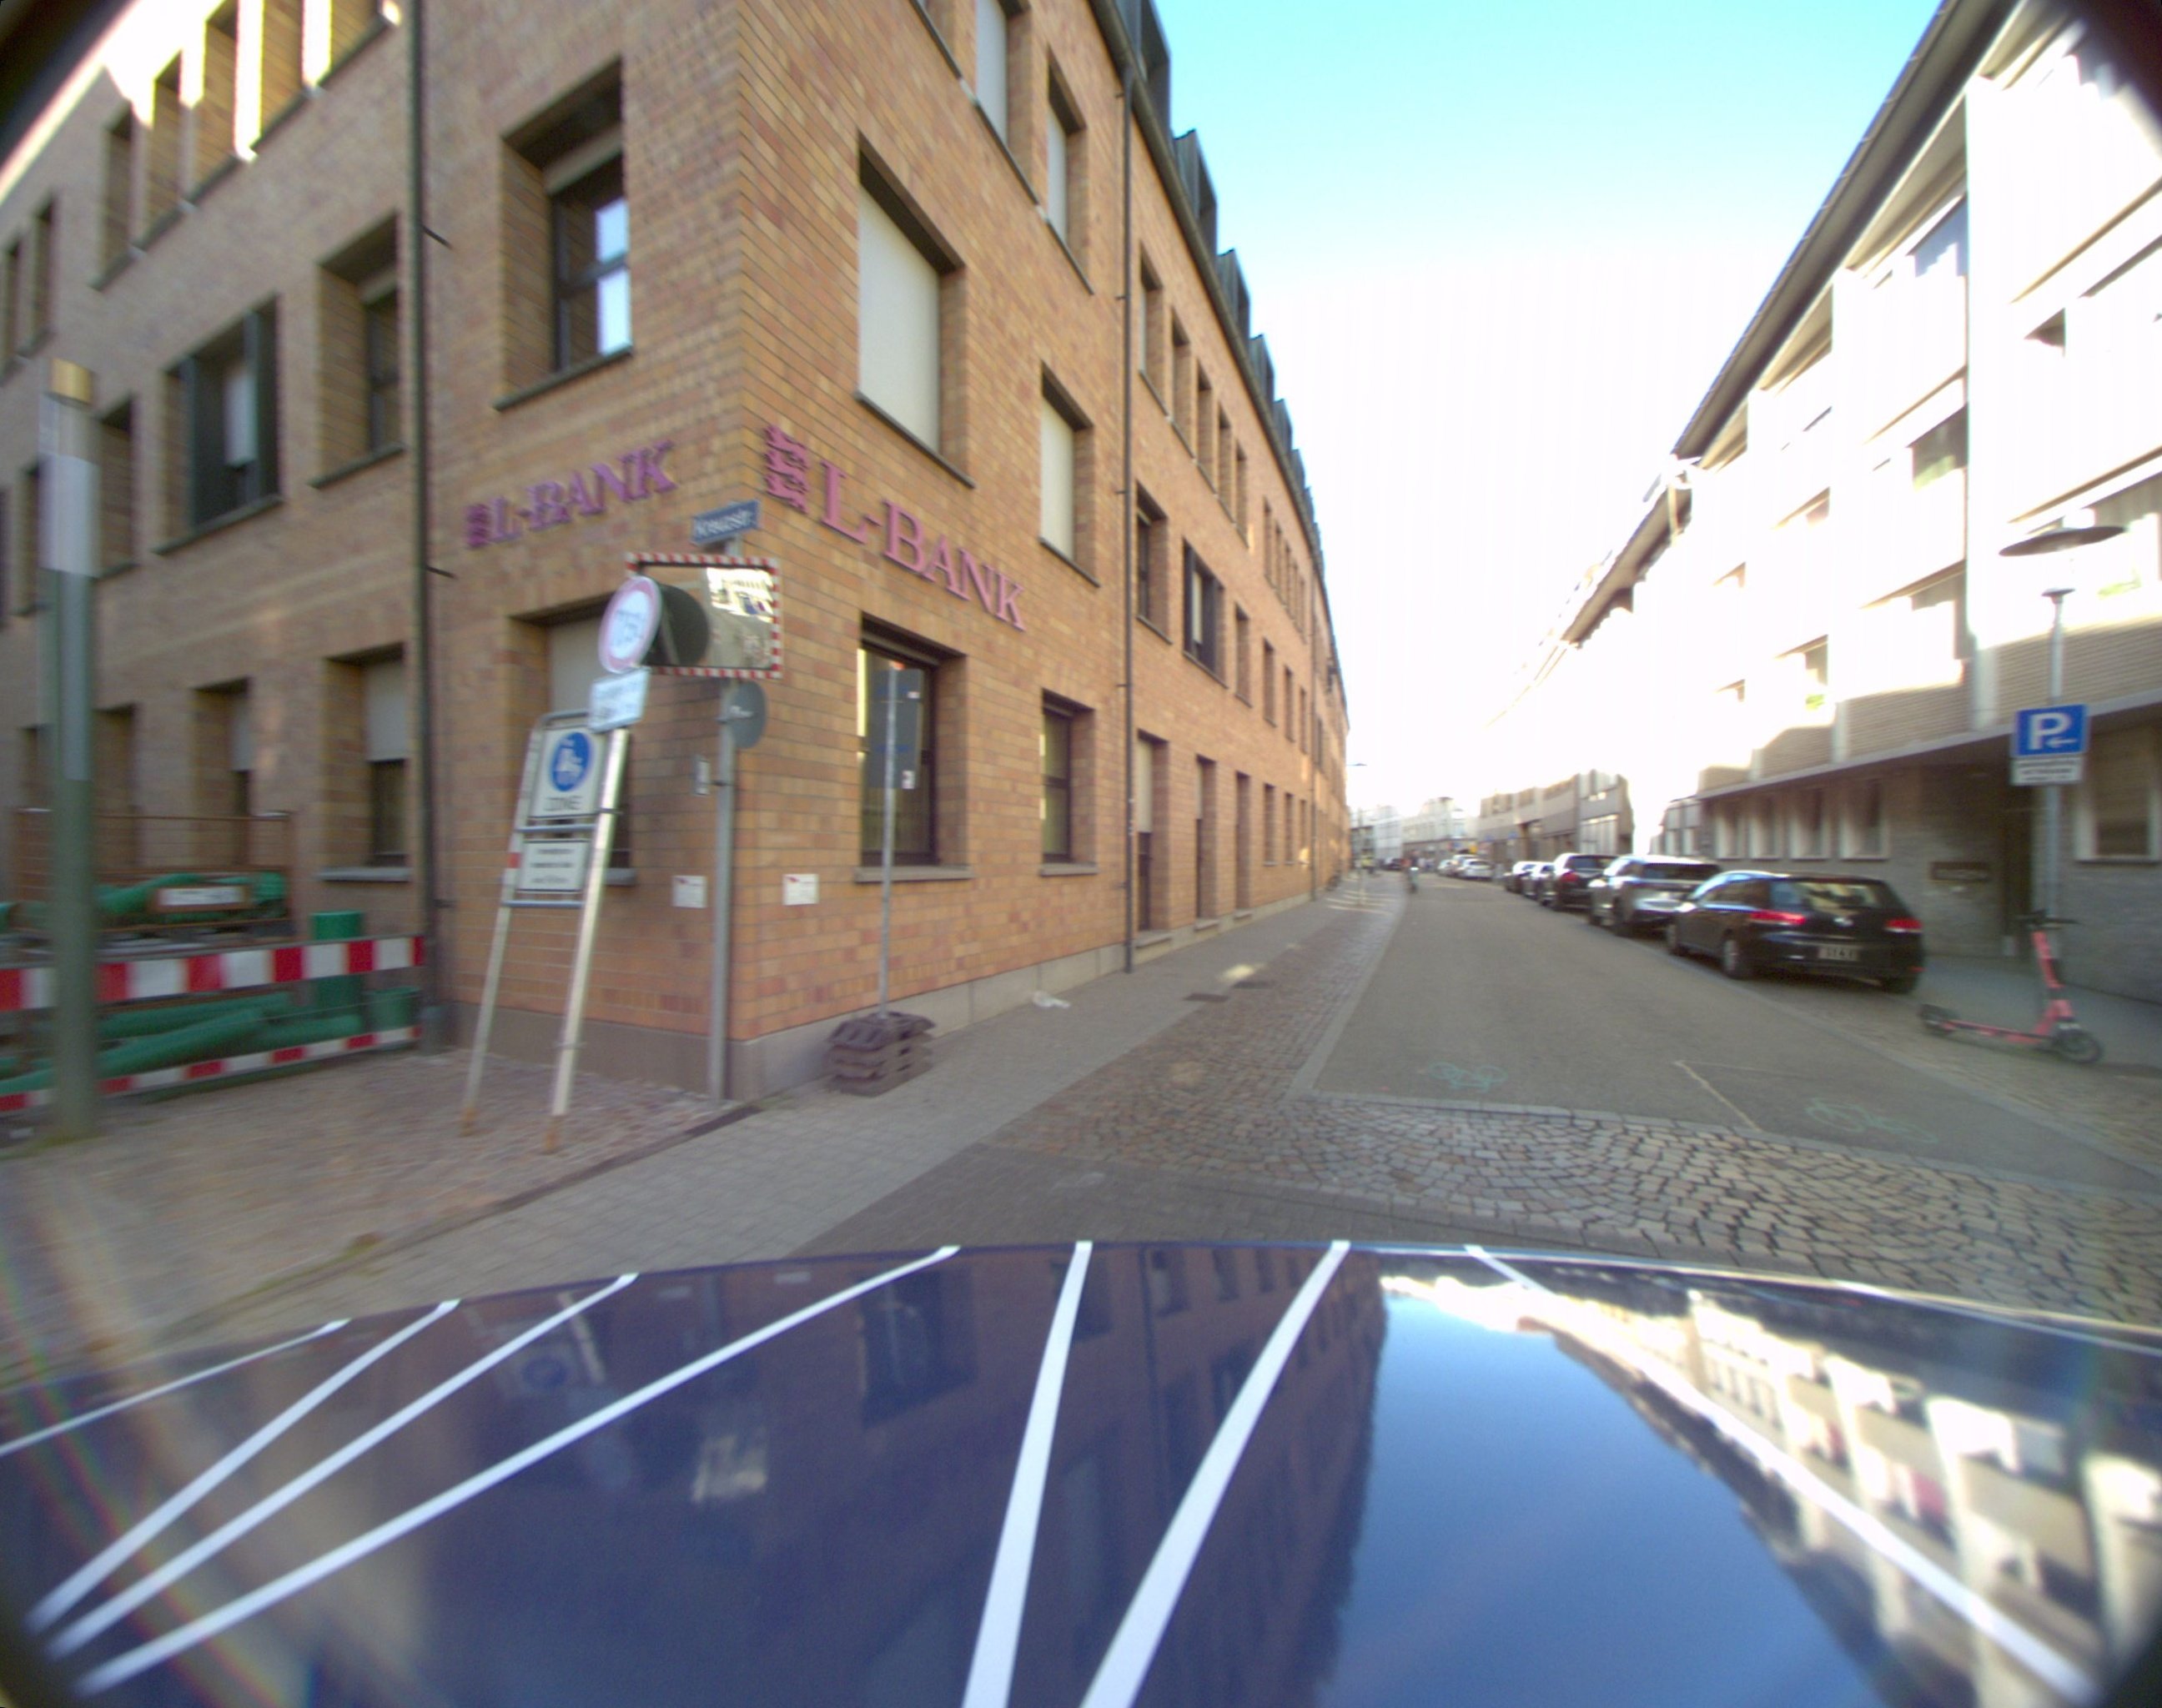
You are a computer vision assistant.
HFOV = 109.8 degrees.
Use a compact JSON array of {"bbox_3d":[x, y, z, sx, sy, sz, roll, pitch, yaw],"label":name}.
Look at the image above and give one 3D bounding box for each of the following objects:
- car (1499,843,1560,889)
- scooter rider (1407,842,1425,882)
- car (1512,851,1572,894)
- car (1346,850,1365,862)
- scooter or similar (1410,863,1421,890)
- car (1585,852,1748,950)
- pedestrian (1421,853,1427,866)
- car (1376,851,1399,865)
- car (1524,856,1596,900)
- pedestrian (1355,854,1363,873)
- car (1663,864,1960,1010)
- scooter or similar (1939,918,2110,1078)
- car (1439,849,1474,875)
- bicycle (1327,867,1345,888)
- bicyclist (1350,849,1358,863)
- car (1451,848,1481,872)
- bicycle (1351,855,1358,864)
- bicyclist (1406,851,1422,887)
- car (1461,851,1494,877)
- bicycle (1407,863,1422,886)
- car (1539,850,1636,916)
[{"bbox_3d":[21.448,0.542,36.458,1.995,2.002,4.007,3,1,24],"label":"car"},{"bbox_3d":[14.690,0.345,33.317,0.647,1.716,0.703,0,0,19],"label":"scooter rider"},{"bbox_3d":[19.729,0.742,32.681,1.669,1.695,4.019,3,1,24],"label":"car"},{"bbox_3d":[39.990,0.282,110.779,1.932,1.641,3.839,1,1,10],"label":"car"},{"bbox_3d":[14.644,0.971,33.263,0.336,1.179,1.281,-2,-1,21],"label":"scooter or similar"},{"bbox_3d":[11.748,0.831,15.559,1.669,1.652,4.088,3,1,24],"label":"car"},{"bbox_3d":[36.910,0.578,81.743,0.570,1.471,0.474,0,1,17],"label":"pedestrian"},{"bbox_3d":[38.047,0.452,94.493,1.932,1.641,3.840,0,0,10],"label":"car"},{"bbox_3d":[17.656,0.829,28.171,1.669,1.452,3.870,3,1,24],"label":"car"},{"bbox_3d":[23.450,0.787,64.041,0.542,1.536,0.406,2,1,23],"label":"pedestrian"},{"bbox_3d":[9.756,0.964,10.581,1.736,1.478,3.818,3,2,24],"label":"car"},{"bbox_3d":[7.904,1.167,6.402,0.208,1.177,0.881,0,0,-16],"label":"scooter or similar"},{"bbox_3d":[31.973,0.653,64.869,1.995,2.002,4.005,2,1,17],"label":"car"},{"bbox_3d":[11.654,1.059,34.691,0.641,0.876,2.561,1,1,21],"label":"bicycle"},{"bbox_3d":[33.789,0.281,93.952,0.771,1.646,0.958,-2,-1,16],"label":"bicyclist"},{"bbox_3d":[29.736,0.469,58.810,1.689,1.765,3.661,3,1,22],"label":"car"},{"bbox_3d":[33.758,0.698,93.889,0.704,1.097,1.830,0,1,16],"label":"bicycle"},{"bbox_3d":[15.849,0.692,36.109,0.618,1.657,0.825,-2,0,25],"label":"bicyclist"},{"bbox_3d":[27.752,0.654,53.231,1.689,1.670,3.513,3,1,22],"label":"car"},{"bbox_3d":[15.764,0.961,35.871,0.590,1.045,1.804,-2,0,25],"label":"bicycle"},{"bbox_3d":[14.701,0.762,22.260,1.669,1.695,4.019,3,1,24],"label":"car"}]
